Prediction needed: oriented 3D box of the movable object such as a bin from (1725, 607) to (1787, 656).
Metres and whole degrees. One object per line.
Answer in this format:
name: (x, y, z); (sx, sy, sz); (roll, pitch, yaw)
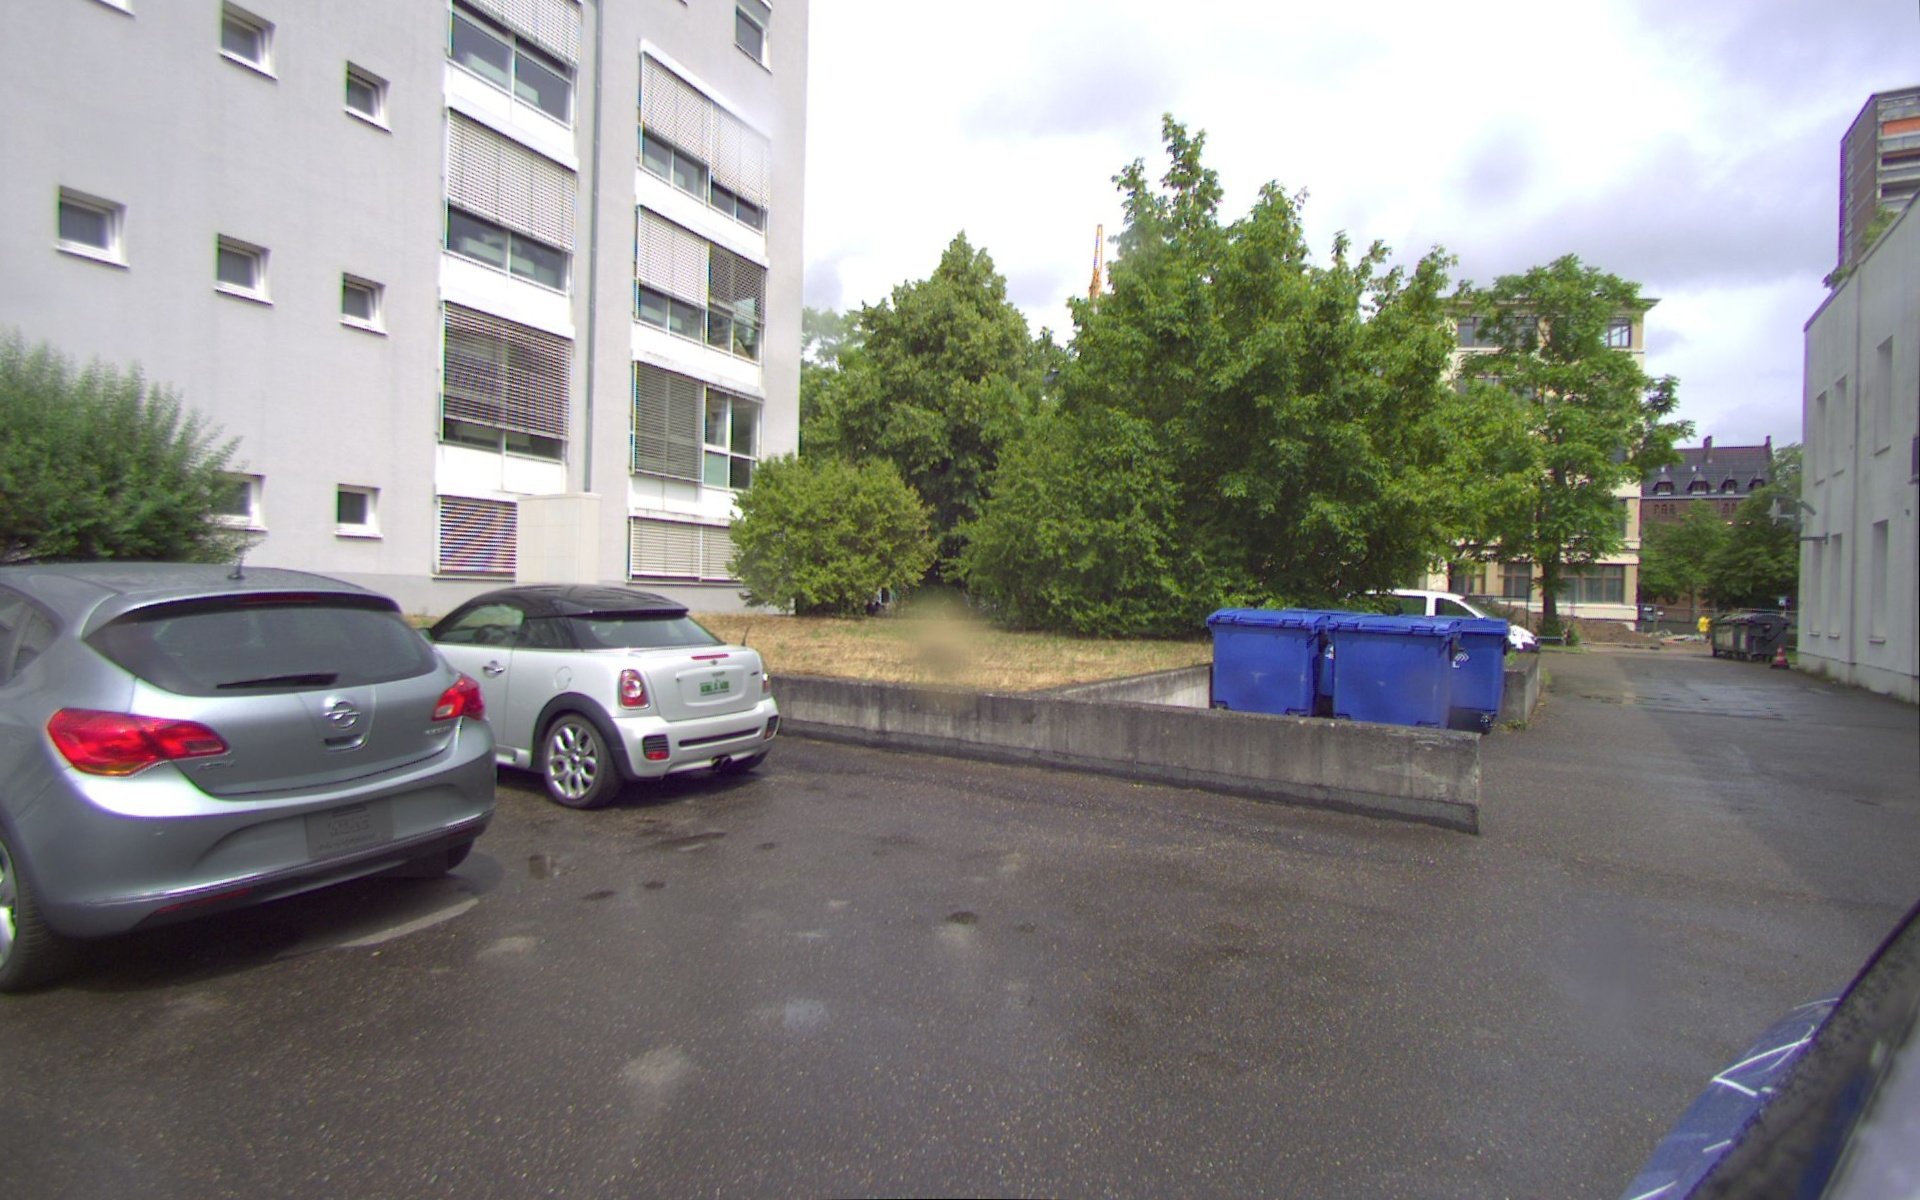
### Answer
movable object such as a bin: (25.331, 0.988, 32.251); (1.353, 1.489, 1.337); (0, -2, 31)

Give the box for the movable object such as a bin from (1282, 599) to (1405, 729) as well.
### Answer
movable object such as a bin: (4.774, 0.756, 12.572); (1.269, 1.502, 1.089); (0, -2, 31)

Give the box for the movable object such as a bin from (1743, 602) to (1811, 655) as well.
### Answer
movable object such as a bin: (23.843, 0.817, 29.575); (1.353, 1.489, 1.350); (0, -2, 31)

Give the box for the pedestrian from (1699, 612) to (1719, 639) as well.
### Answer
pedestrian: (43.450, 1.499, 58.713); (0.635, 1.528, 0.626); (2, 0, -9)

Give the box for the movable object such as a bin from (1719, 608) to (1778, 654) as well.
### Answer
movable object such as a bin: (26.054, 1.018, 33.488); (1.353, 1.489, 1.448); (0, -2, 31)

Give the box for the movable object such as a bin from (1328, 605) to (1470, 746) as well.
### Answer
movable object such as a bin: (4.660, 0.755, 10.715); (1.224, 1.334, 1.044); (2, 0, 31)

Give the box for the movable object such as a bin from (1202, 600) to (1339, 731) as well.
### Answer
movable object such as a bin: (3.511, 0.698, 11.416); (1.224, 1.334, 1.044); (2, 0, 31)

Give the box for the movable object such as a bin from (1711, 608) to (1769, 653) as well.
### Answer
movable object such as a bin: (26.821, 1.049, 34.837); (1.402, 1.489, 1.543); (0, -2, 31)

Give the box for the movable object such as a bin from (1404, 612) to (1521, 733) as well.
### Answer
movable object such as a bin: (5.956, 0.816, 11.980); (1.168, 1.334, 1.044); (0, -2, 31)

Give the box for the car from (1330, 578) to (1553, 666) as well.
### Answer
car: (12.321, 0.488, 26.044); (4.921, 2.039, 1.975); (1, 0, 35)

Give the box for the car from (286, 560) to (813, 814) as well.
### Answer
car: (-3.267, 0.483, 7.877); (3.969, 1.371, 1.771); (4, 2, 31)

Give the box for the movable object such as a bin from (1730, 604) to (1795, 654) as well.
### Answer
movable object such as a bin: (24.587, 0.885, 31.039); (1.353, 1.489, 1.350); (0, -2, 31)

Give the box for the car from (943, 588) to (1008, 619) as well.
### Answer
car: (0.808, 0.206, 49.816); (1.958, 1.427, 4.018); (0, -1, 21)

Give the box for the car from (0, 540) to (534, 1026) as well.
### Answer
car: (-4.085, 0.474, 4.781); (4.056, 1.476, 1.652); (2, 2, 28)
